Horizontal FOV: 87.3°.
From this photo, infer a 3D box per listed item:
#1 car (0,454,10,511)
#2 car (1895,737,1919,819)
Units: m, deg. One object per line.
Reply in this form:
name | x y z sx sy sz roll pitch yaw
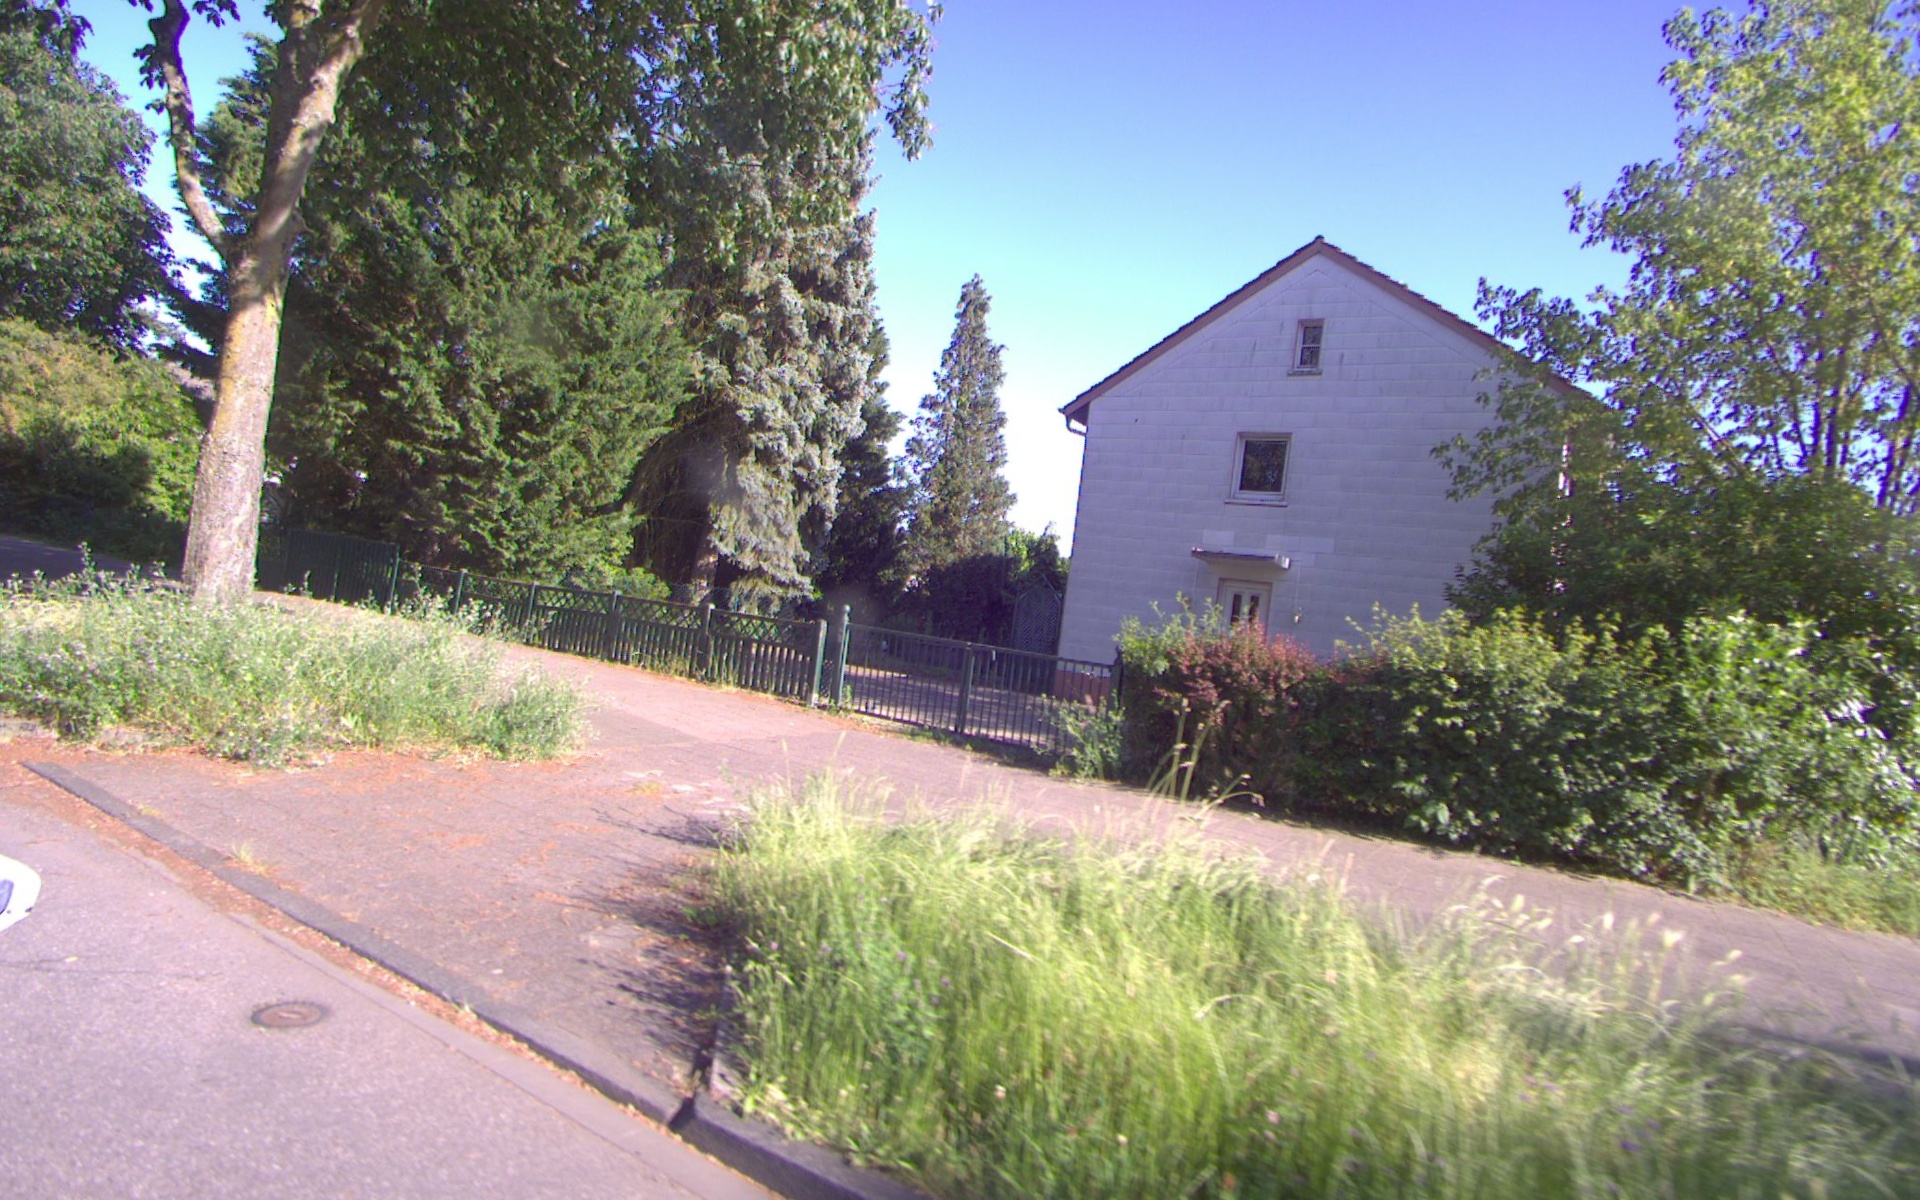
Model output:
car | -14.243 -1.105 12.533 5.109 2.035 2.000 6 -4 31
car | 19.255 3.541 18.756 1.858 1.529 4.303 7 -1 34
